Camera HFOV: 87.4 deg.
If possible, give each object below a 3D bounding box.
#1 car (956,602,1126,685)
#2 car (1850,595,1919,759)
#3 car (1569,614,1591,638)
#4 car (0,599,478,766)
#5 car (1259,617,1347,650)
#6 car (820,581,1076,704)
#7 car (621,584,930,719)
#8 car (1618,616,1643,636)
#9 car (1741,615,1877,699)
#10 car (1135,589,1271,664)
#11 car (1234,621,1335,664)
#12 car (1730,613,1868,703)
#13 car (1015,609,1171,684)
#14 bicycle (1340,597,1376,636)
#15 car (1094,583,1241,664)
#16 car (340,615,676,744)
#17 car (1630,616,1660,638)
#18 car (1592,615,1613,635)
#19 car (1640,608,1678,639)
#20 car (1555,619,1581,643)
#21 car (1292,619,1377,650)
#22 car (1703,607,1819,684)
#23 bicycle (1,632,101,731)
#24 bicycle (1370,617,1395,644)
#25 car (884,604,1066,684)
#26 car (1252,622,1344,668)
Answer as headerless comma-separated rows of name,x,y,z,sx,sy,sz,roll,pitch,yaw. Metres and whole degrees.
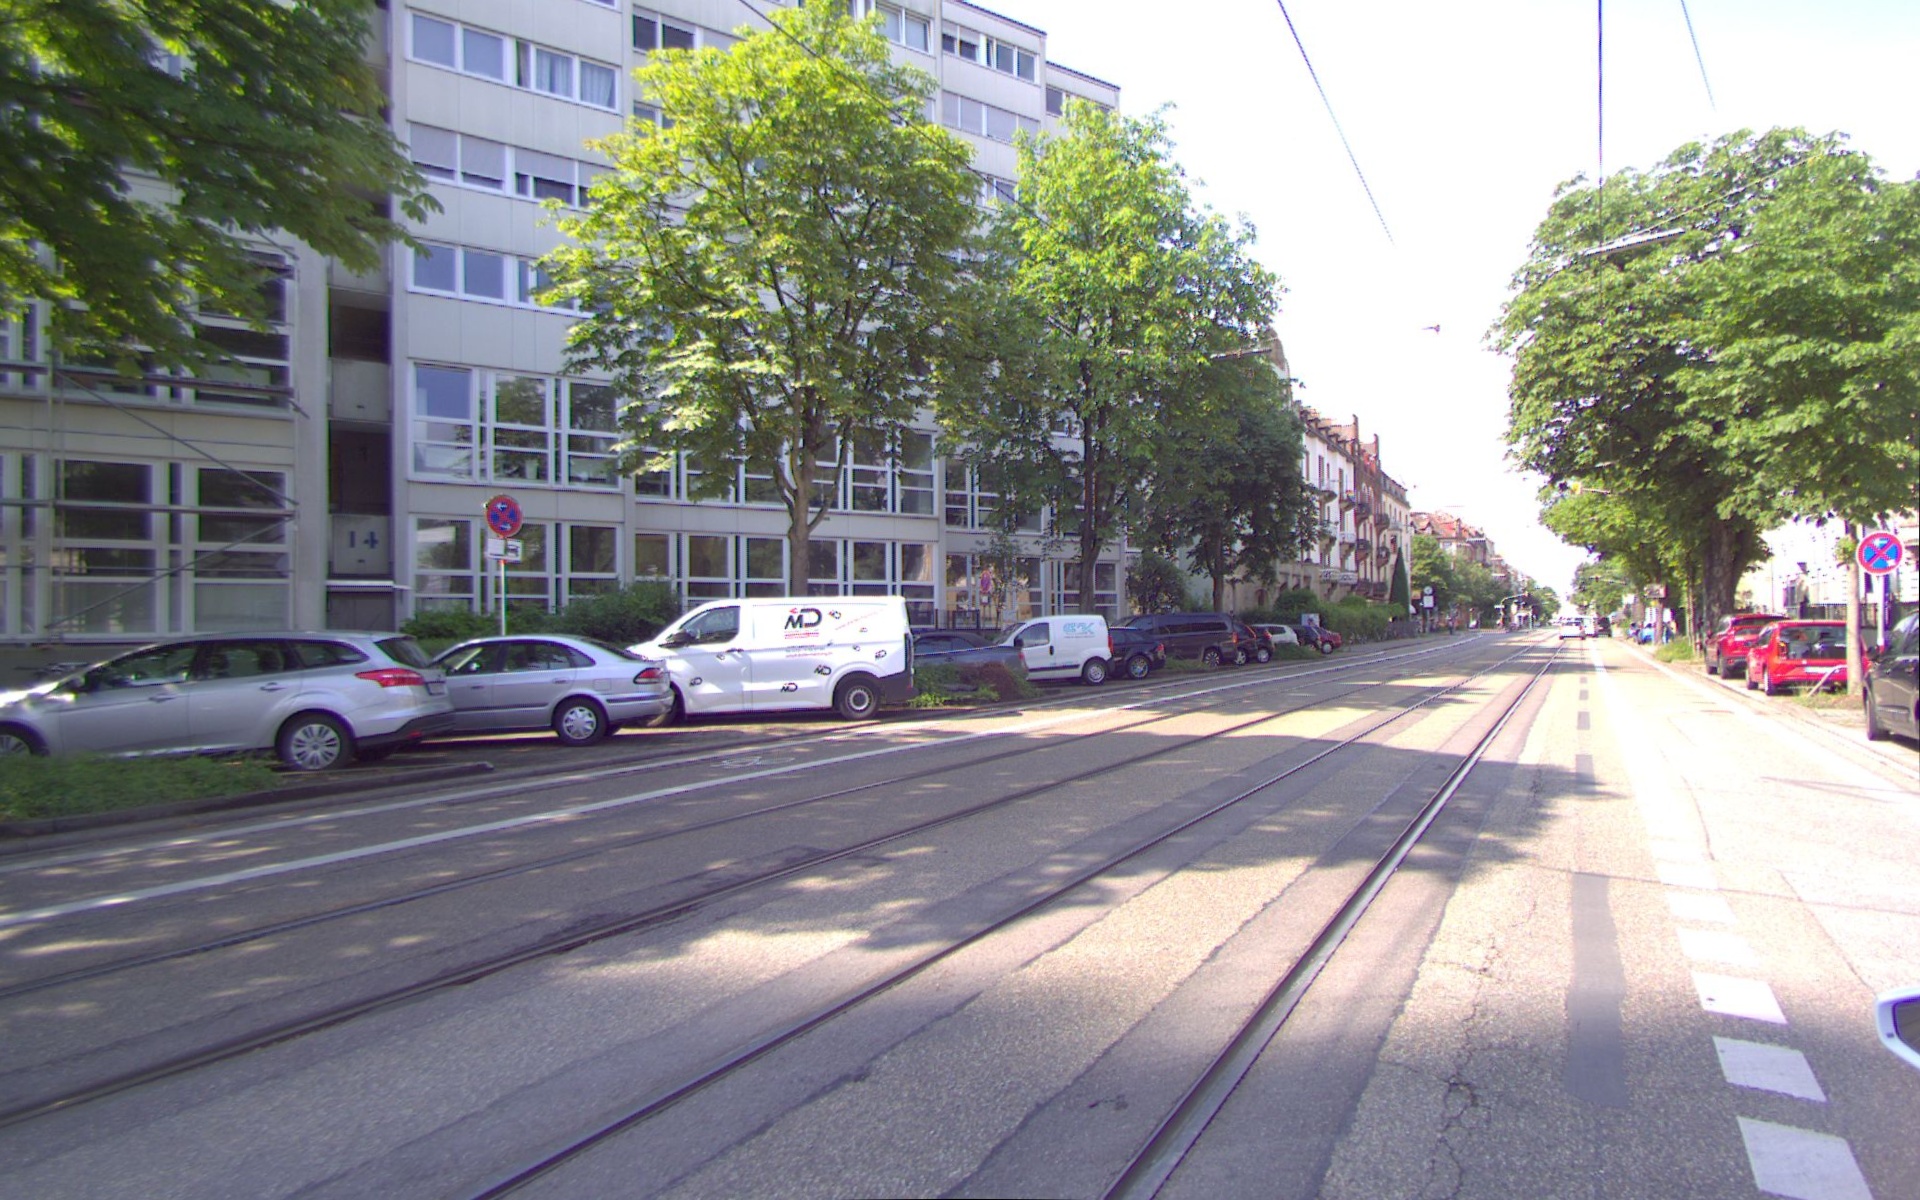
car,1.942,1.044,24.617,3.695,1.735,1.878,3,2,-14
car,10.992,0.773,10.695,1.650,1.633,3.575,1,1,32
car,55.773,2.340,90.372,1.598,2.027,3.556,4,2,32
car,-7.664,0.846,10.525,4.387,1.445,1.735,3,1,-15
car,16.882,1.650,49.481,3.716,1.324,1.636,3,1,-6
car,-0.298,0.764,18.734,4.491,2.024,1.900,2,2,-9
car,-2.866,0.745,16.126,4.557,1.938,1.929,-1,1,-9
car,56.514,2.149,84.704,1.598,1.537,3.556,4,2,32
car,17.189,1.085,20.480,1.644,1.506,3.271,2,0,32
car,8.614,0.910,35.752,4.128,2.108,1.881,6,3,-7
car,13.068,1.706,40.582,3.537,1.599,1.631,-1,1,-7
car,17.026,1.101,20.543,1.650,1.633,3.576,1,0,32
car,3.580,1.240,27.310,3.695,1.735,1.878,3,2,-14
bicycle,24.886,1.035,62.722,0.927,2.350,3.984,4,2,38
car,6.750,0.746,32.831,4.134,2.108,1.878,6,3,-14
car,-5.755,0.968,13.236,3.716,1.495,1.722,0,1,-11
car,51.748,2.017,75.933,1.598,1.537,3.556,4,2,32
car,62.709,2.428,98.051,1.598,1.873,3.556,4,2,32
car,43.268,1.430,62.225,1.598,1.706,3.556,4,2,32
car,46.818,2.352,77.315,1.598,1.706,3.556,4,2,32
car,19.429,1.780,52.161,3.716,1.324,1.636,3,1,-6
car,20.910,1.132,26.383,1.933,1.729,3.989,4,2,33
bicycle,-12.414,1.071,13.768,0.491,1.101,2.041,2,2,-28
bicycle,28.348,2.025,67.372,0.927,1.770,2.275,4,2,38
car,0.284,0.944,21.934,3.577,1.521,1.756,3,1,-16
car,15.571,2.074,46.420,3.539,1.598,1.631,6,3,-7
